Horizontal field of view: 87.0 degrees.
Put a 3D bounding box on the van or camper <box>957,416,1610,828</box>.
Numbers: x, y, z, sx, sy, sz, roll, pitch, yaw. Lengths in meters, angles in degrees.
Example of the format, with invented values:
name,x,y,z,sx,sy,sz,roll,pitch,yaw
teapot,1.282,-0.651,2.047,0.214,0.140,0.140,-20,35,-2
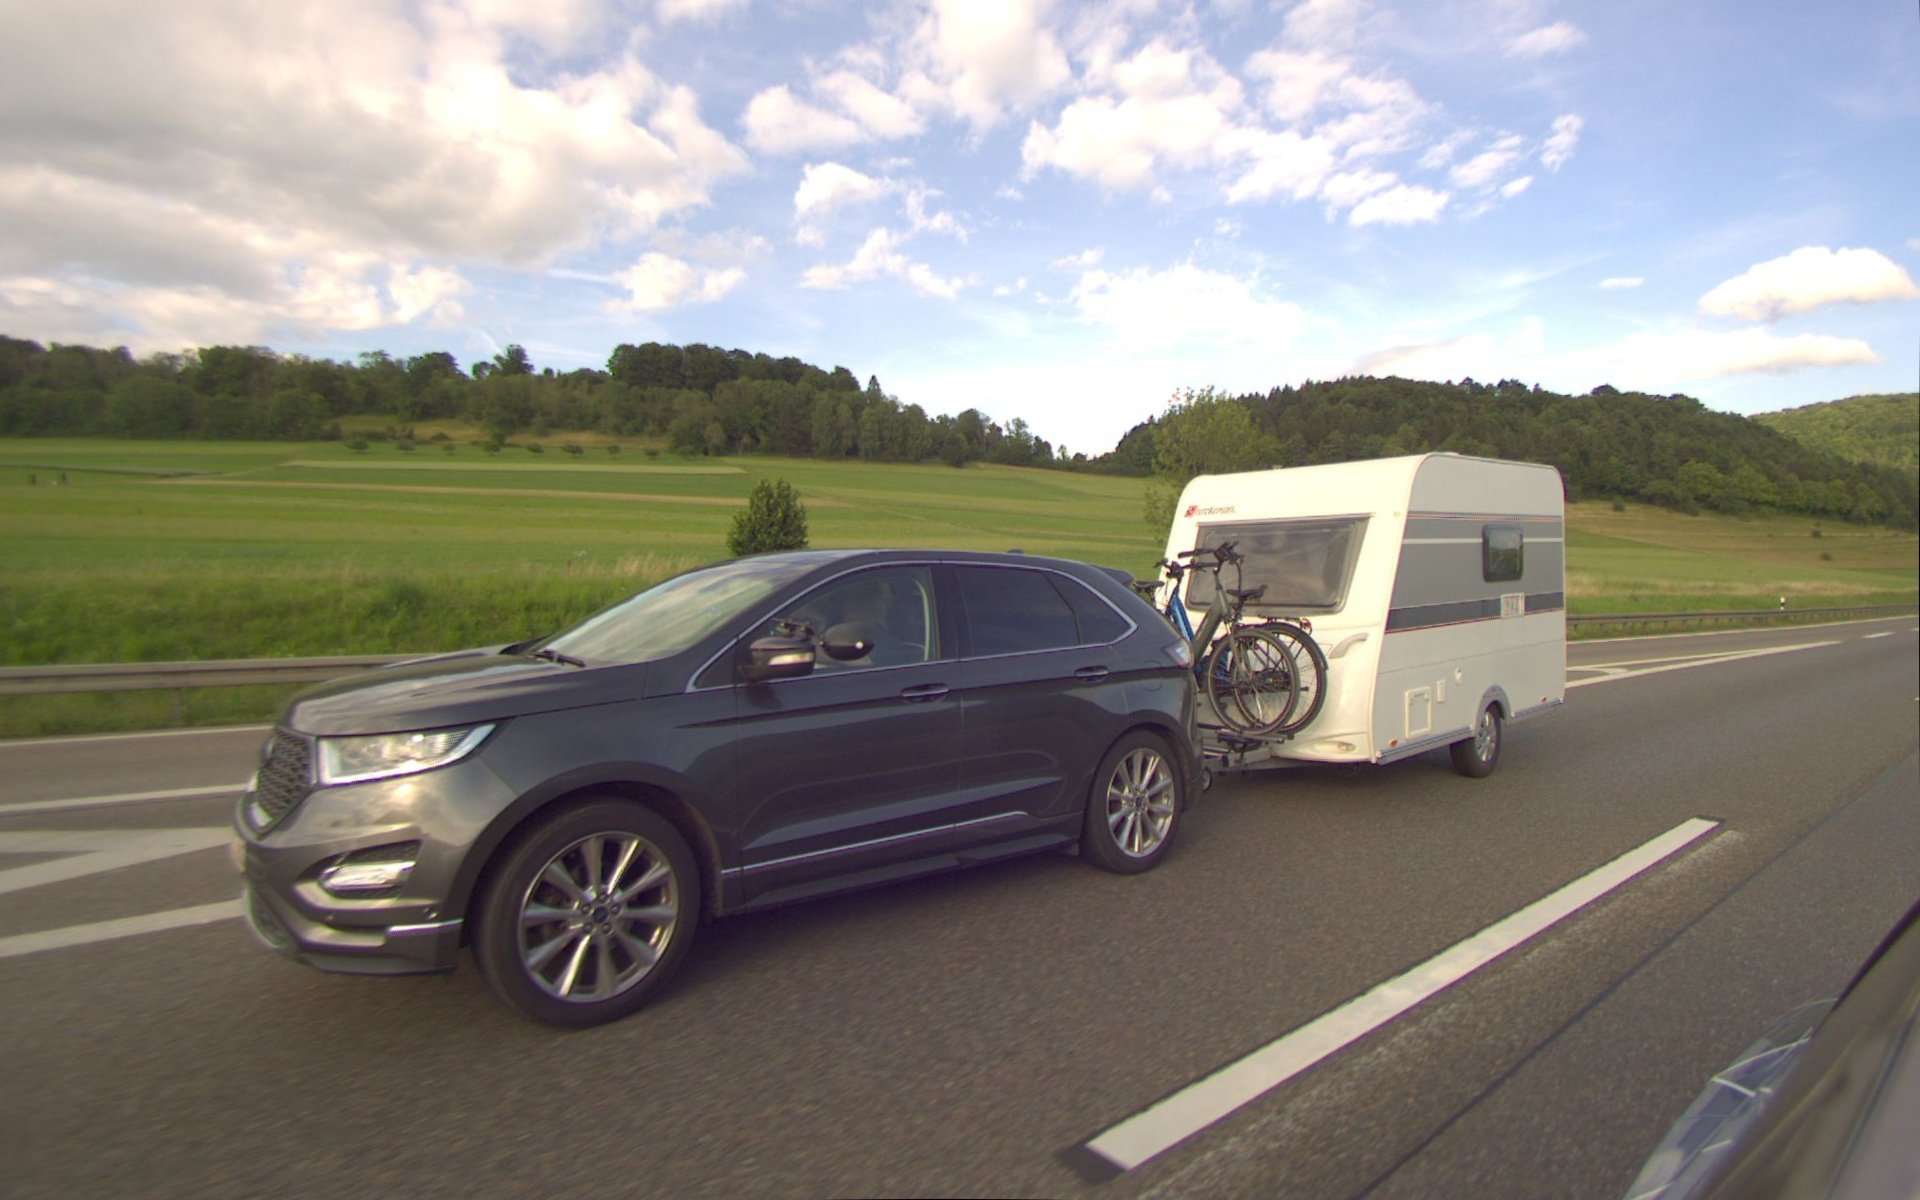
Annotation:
name,x,y,z,sx,sy,sz,roll,pitch,yaw
van or camper,2.808,0.196,8.207,5.231,2.268,2.553,1,-3,-38

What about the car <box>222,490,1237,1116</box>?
name,x,y,z,sx,sy,sz,roll,pitch,yaw
car,-0.724,0.513,4.827,4.403,1.673,1.790,0,1,-41
